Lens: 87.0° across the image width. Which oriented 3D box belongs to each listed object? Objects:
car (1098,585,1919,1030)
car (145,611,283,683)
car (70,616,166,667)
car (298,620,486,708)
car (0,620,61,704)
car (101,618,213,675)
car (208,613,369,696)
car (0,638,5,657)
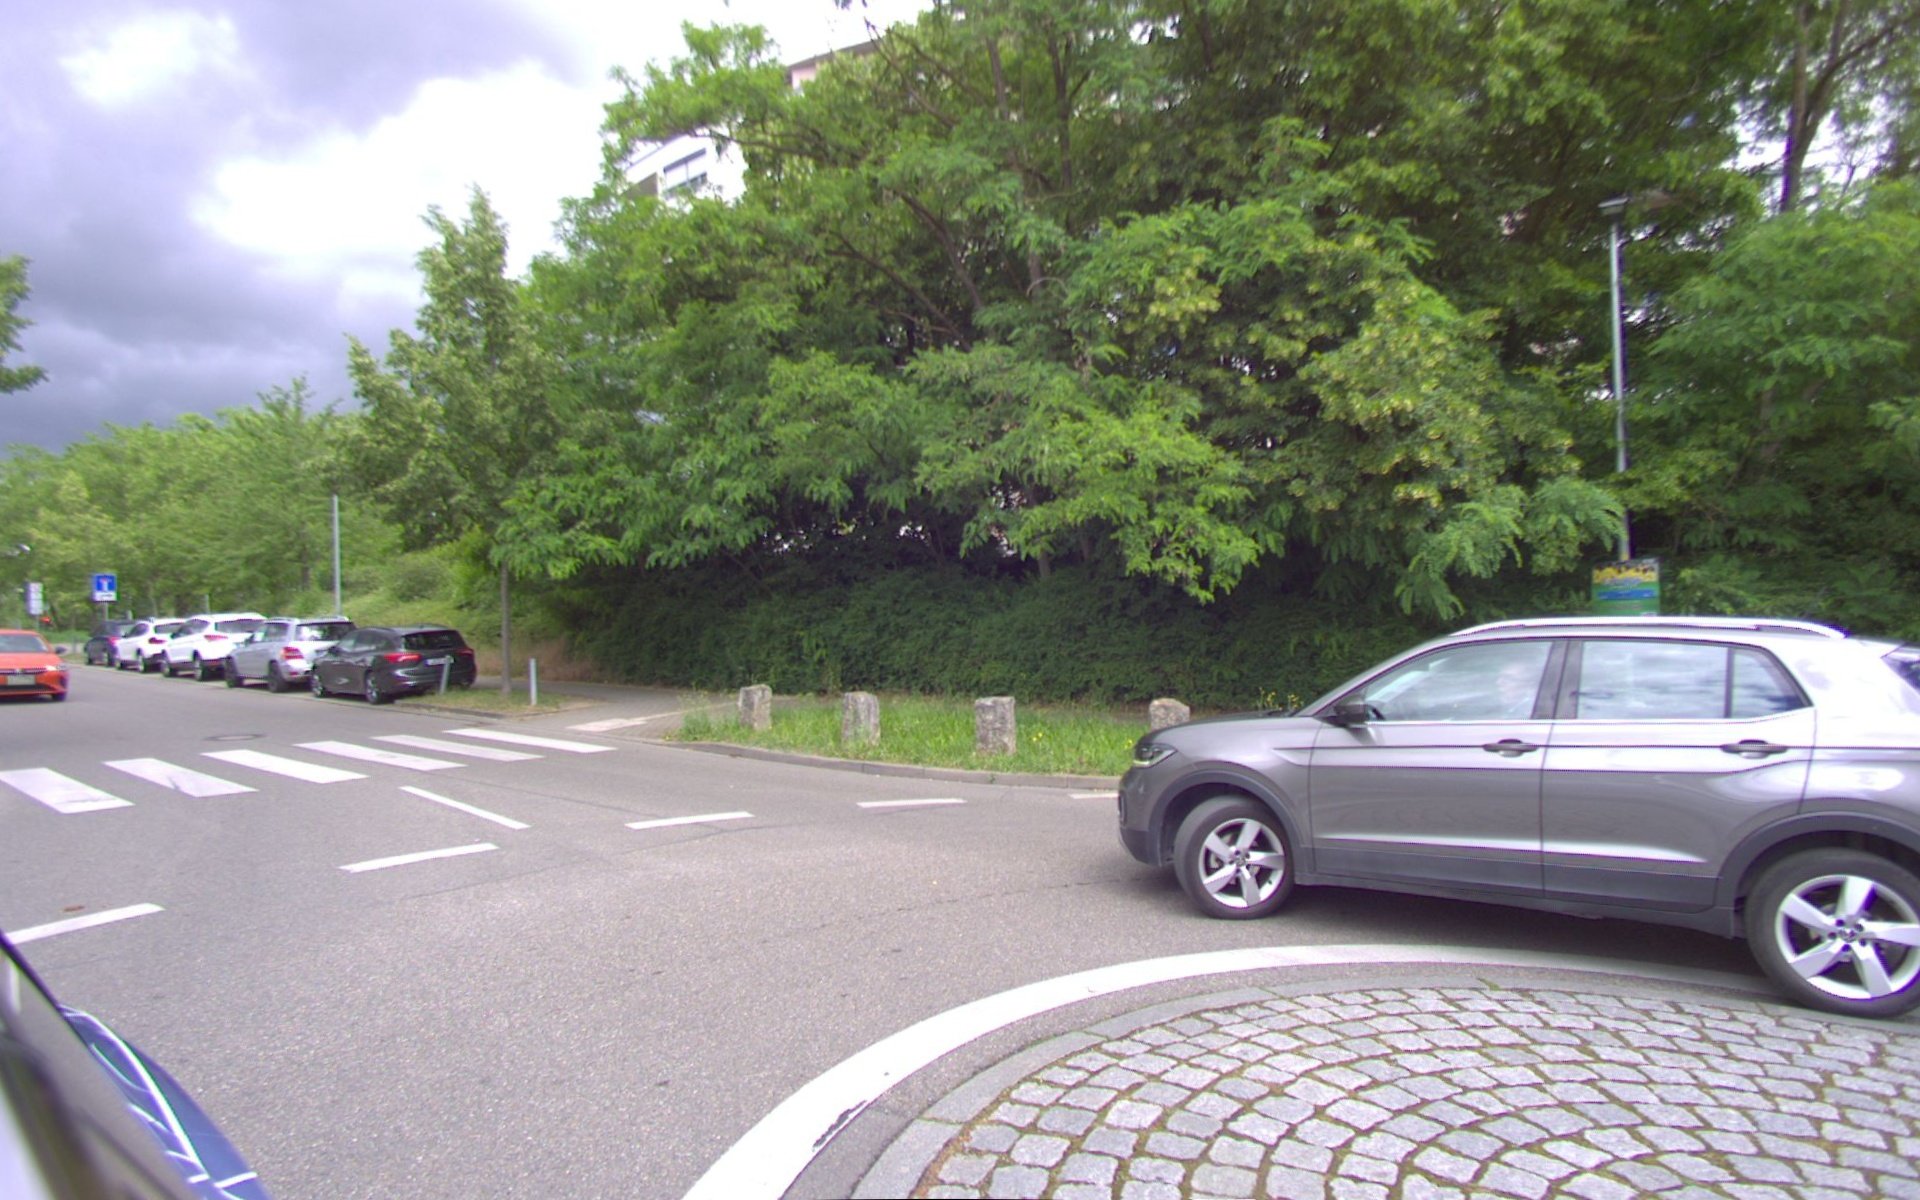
[{"bbox_3d":[2.888,0.803,5.285,4.003,1.630,1.701,-1,-2,37],"label":"car"},{"bbox_3d":[-20.067,1.225,27.163,4.430,1.677,1.790,-2,2,38],"label":"car"},{"bbox_3d":[-28.266,1.366,33.931,3.948,1.498,1.673,-2,2,39],"label":"car"},{"bbox_3d":[-11.425,1.208,20.240,4.450,1.476,1.674,-1,2,38],"label":"car"},{"bbox_3d":[-19.858,1.223,20.792,4.000,1.527,1.735,0,0,43],"label":"car"},{"bbox_3d":[-24.360,1.369,30.649,4.225,1.522,1.674,-2,2,38],"label":"car"},{"bbox_3d":[-15.680,1.192,23.559,4.472,1.627,1.782,0,3,38],"label":"car"},{"bbox_3d":[-80.736,3.997,84.149,4.000,1.527,1.735,-2,-1,43],"label":"car"}]
